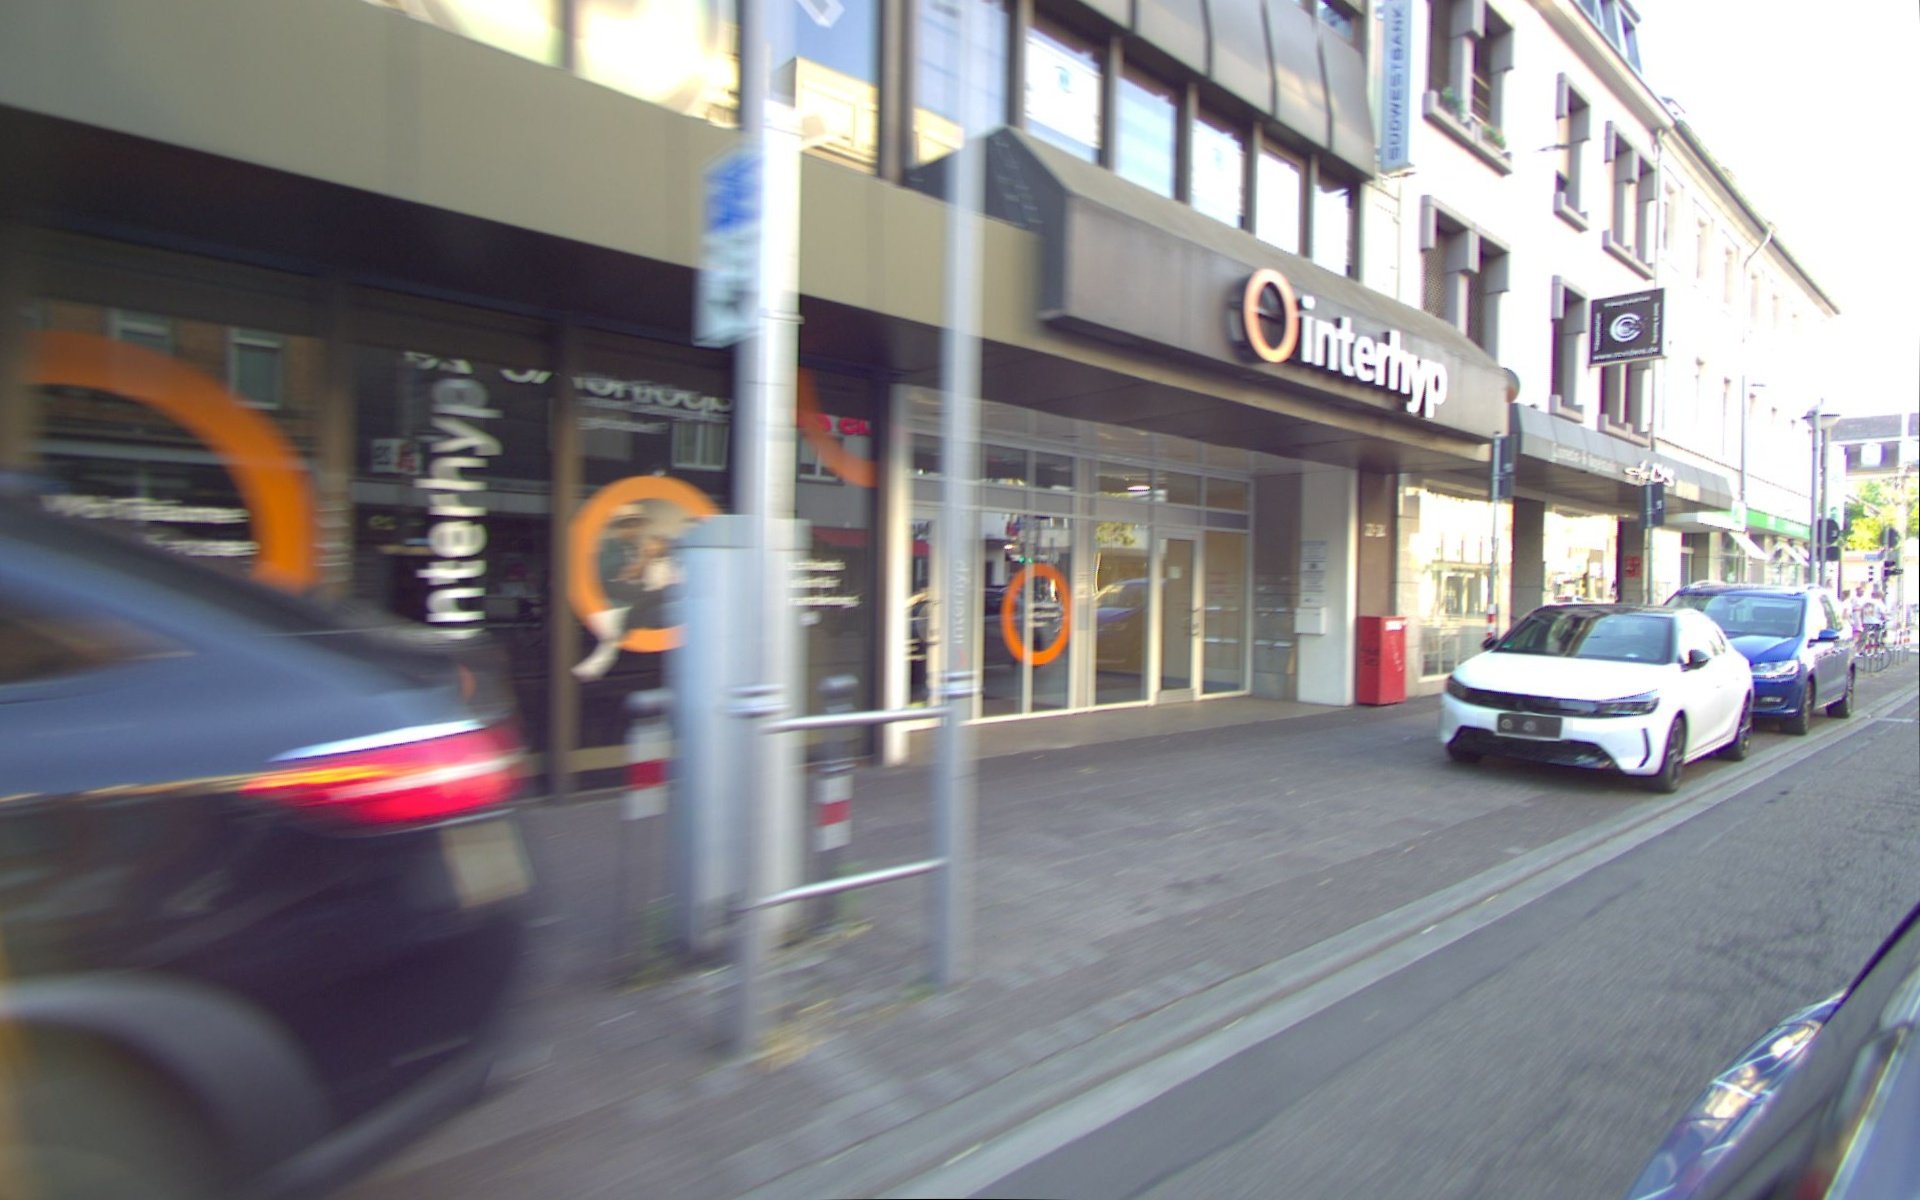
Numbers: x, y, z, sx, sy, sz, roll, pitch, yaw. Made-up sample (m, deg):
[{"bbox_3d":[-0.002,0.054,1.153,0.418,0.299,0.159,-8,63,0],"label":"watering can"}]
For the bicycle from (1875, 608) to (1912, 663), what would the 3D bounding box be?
[{"bbox_3d":[20.216,0.747,21.913,1.621,1.103,0.478,-1,3,-44],"label":"bicycle"}]

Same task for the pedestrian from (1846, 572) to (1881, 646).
[{"bbox_3d":[23.979,0.228,26.868,0.636,1.953,0.522,1,0,38],"label":"pedestrian"}]

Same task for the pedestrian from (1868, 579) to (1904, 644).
[{"bbox_3d":[26.199,0.321,28.625,0.636,1.801,0.671,0,1,-42],"label":"pedestrian"}]

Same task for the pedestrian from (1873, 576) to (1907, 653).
[{"bbox_3d":[24.032,0.370,26.155,0.573,1.953,0.489,1,0,38],"label":"pedestrian"}]

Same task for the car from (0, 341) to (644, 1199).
[{"bbox_3d":[-2.998,0.478,1.197,4.588,1.755,1.989,0,3,-41],"label":"car"}]

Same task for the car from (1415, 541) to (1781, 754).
[{"bbox_3d":[5.877,0.300,9.156,3.805,1.503,1.769,0,3,-42],"label":"car"}]

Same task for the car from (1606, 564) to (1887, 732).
[{"bbox_3d":[10.177,0.489,12.970,4.483,1.738,1.919,0,3,-41],"label":"car"}]

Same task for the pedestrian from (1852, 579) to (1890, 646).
[{"bbox_3d":[24.660,0.332,27.385,0.687,1.767,0.639,0,1,-39],"label":"pedestrian"}]
